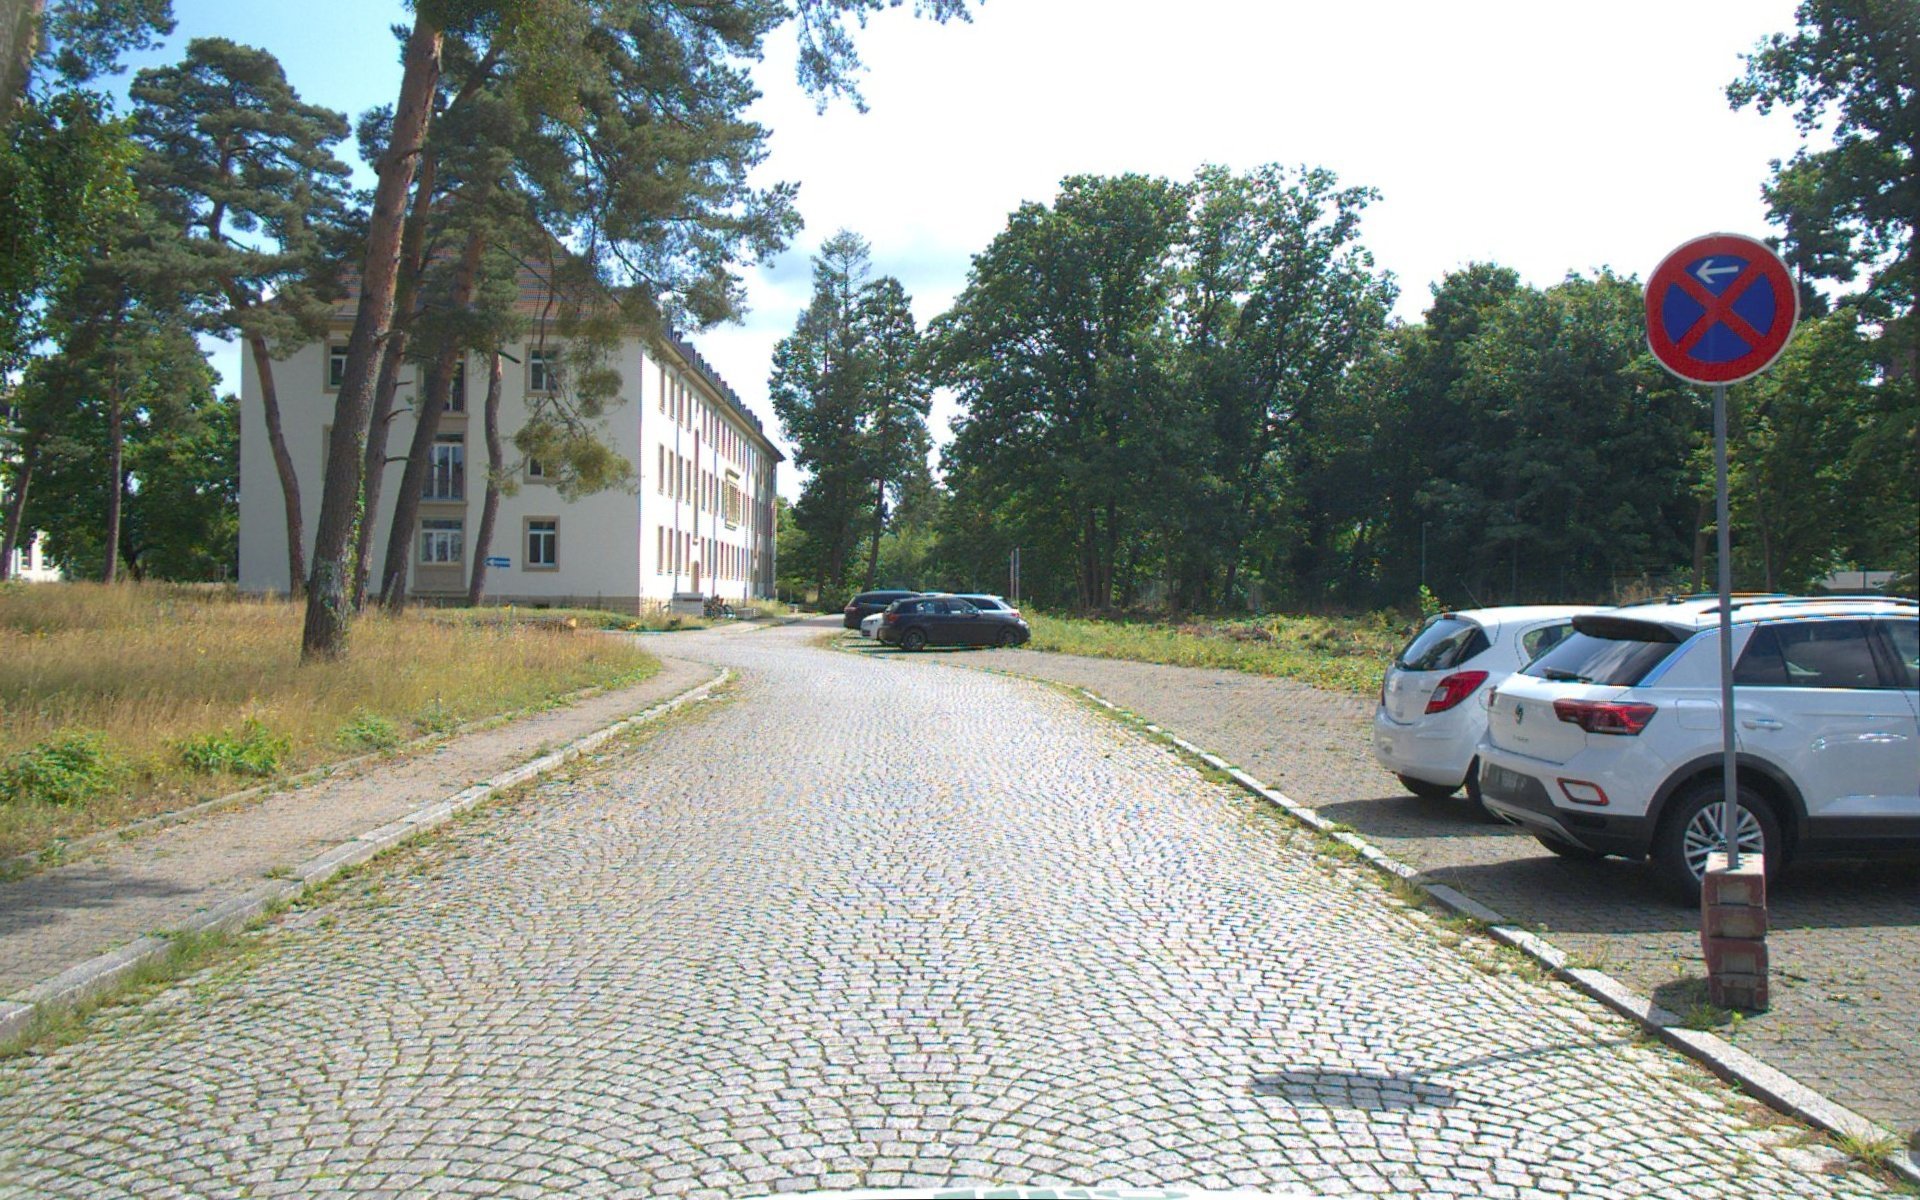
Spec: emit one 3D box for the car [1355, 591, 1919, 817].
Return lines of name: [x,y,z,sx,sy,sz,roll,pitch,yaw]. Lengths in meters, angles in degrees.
car: [5.169,0.713,12.398,3.963,1.489,1.702,-1,0,-5]

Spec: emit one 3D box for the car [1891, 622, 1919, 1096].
car: [5.279,0.788,4.728,4.368,1.501,1.743,-1,0,-6]

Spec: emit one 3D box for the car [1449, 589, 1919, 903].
car: [4.988,0.718,9.327,3.909,1.533,1.745,-1,0,-5]

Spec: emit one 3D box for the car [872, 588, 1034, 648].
car: [-0.220,0.473,45.799,4.246,1.526,1.826,-1,1,-10]

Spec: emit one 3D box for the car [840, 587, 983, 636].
car: [-1.679,0.399,56.183,4.756,1.580,1.878,-1,0,-4]

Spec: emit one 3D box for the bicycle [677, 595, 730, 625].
bicycle: [-11.163,0.428,72.003,2.175,1.282,0.623,0,0,4]

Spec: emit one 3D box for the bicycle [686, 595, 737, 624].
bicycle: [-11.108,0.406,73.997,2.176,1.282,0.623,0,0,0]

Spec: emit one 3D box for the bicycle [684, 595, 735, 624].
bicycle: [-11.055,0.408,72.990,2.176,1.282,0.623,0,0,0]

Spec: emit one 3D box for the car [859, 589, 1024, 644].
car: [-0.576,0.473,48.968,4.766,1.498,1.873,-1,1,-4]

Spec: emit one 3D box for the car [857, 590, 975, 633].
car: [-1.667,0.432,61.593,4.311,1.510,1.764,-1,-1,-4]

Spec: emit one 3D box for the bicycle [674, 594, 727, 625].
bicycle: [-11.159,0.409,71.176,2.176,1.282,0.623,0,0,0]
